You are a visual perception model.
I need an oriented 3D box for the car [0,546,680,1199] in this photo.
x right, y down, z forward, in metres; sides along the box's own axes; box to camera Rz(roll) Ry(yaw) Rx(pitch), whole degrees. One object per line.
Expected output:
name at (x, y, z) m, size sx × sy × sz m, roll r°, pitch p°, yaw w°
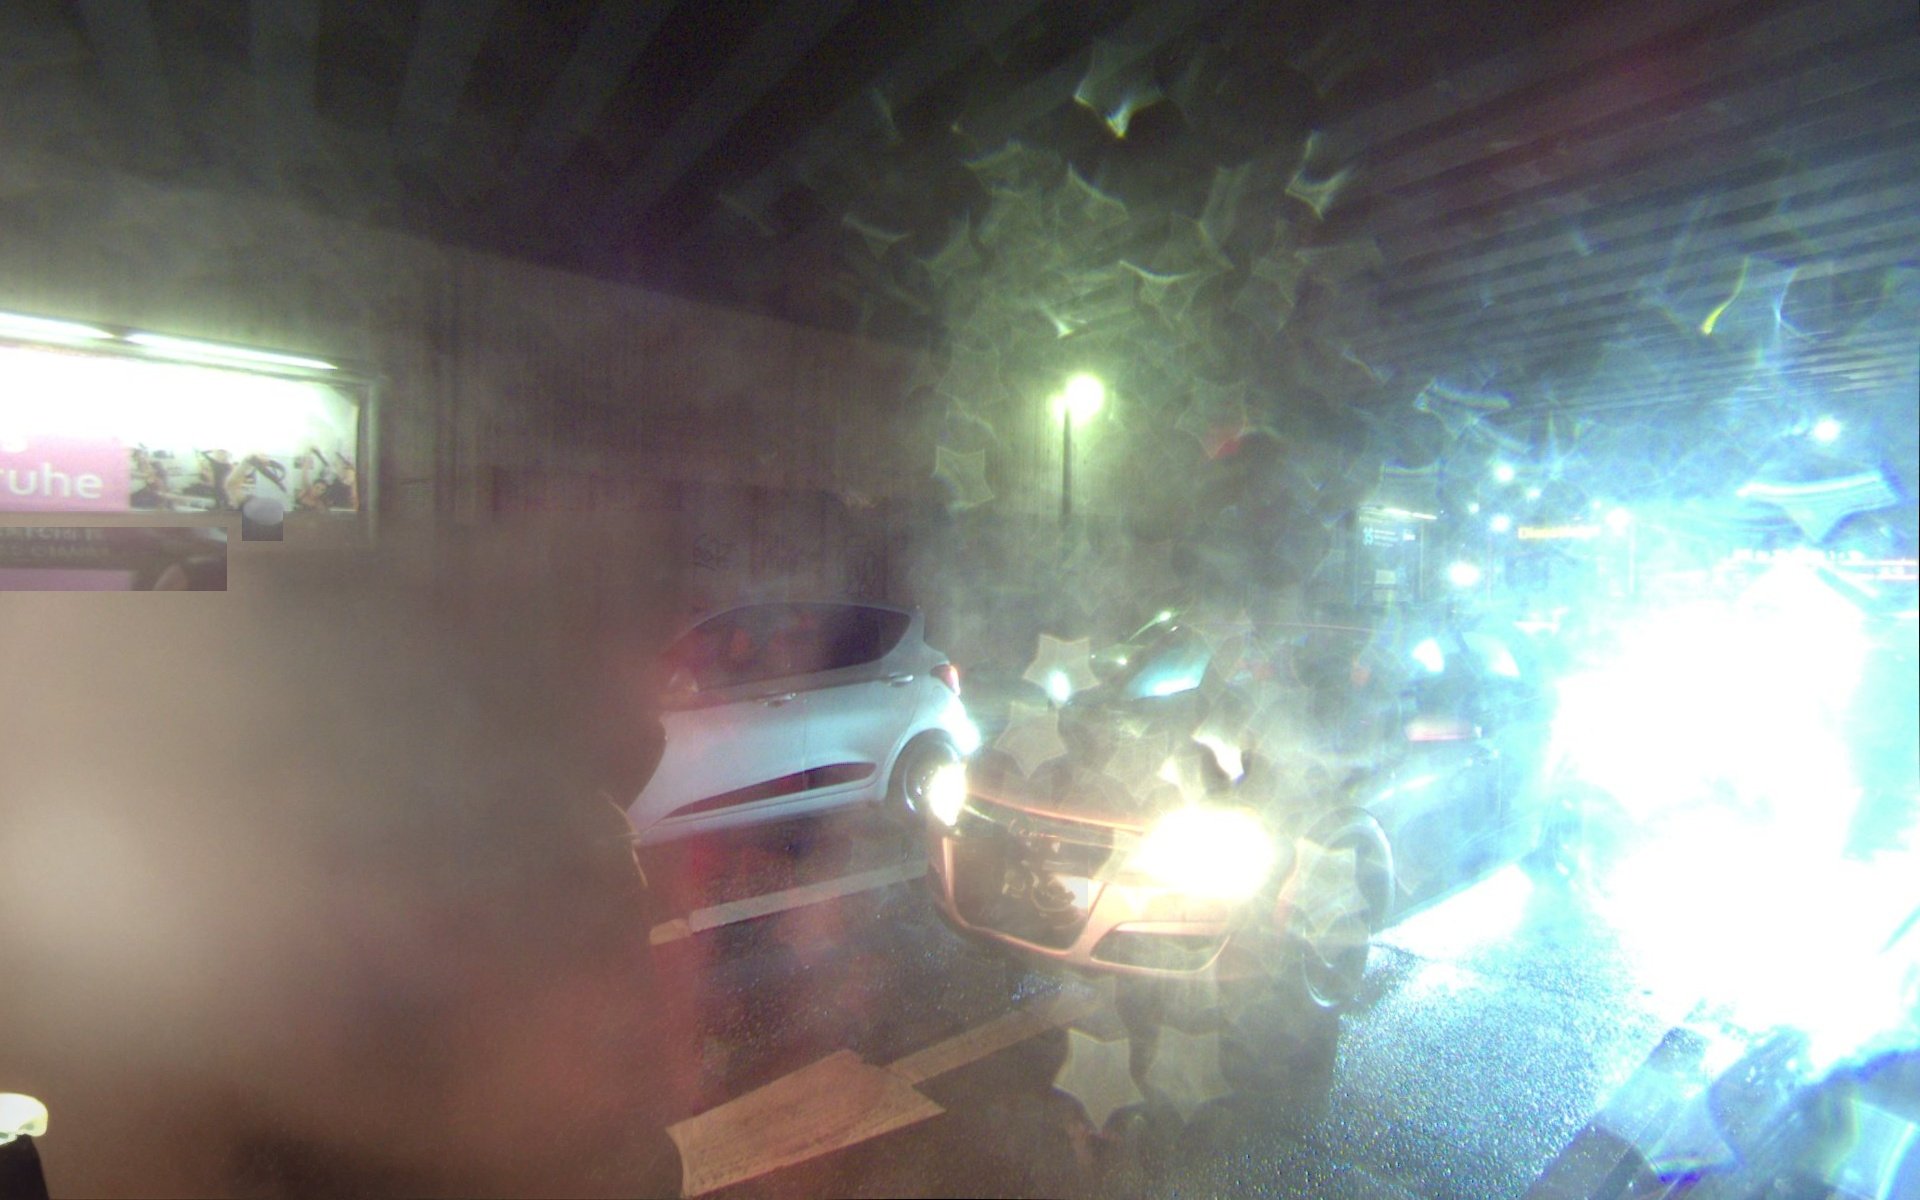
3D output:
car at (-2.670, 0.655, 1.003) m, size 4.308 × 1.464 × 1.723 m, roll -1°, pitch 3°, yaw -42°

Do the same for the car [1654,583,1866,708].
car at (11.414, 0.525, 14.352) m, size 3.906 × 1.481 × 1.696 m, roll -1°, pitch 3°, yaw -42°

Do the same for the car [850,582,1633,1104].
car at (1.636, 0.654, 4.877) m, size 4.091 × 1.464 × 1.723 m, roll -1°, pitch 1°, yaw -42°

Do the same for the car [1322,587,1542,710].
car at (7.163, 0.603, 15.162) m, size 1.721 × 1.505 × 4.096 m, roll 3°, pitch 3°, yaw 44°

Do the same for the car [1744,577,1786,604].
car at (48.970, -0.590, 61.535) m, size 1.720 × 1.505 × 4.098 m, roll 3°, pitch 3°, yaw 42°

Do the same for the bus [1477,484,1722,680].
bus at (13.951, -0.400, 21.579) m, size 2.733 × 3.318 × 9.551 m, roll 1°, pitch 1°, yaw 43°

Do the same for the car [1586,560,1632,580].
car at (46.350, -2.140, 72.358) m, size 1.685 × 1.407 × 3.979 m, roll 0°, pitch 1°, yaw 17°

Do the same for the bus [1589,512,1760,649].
bus at (20.410, -0.549, 28.609) m, size 2.733 × 3.278 × 9.551 m, roll 1°, pitch 1°, yaw 43°

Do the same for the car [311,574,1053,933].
car at (-1.461, 0.607, 6.255) m, size 4.091 × 1.464 × 1.723 m, roll -1°, pitch 3°, yaw -42°

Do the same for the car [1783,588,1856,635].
car at (31.676, 0.376, 37.381) m, size 1.716 × 1.505 × 4.108 m, roll 3°, pitch 3°, yaw 36°

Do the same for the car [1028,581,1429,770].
car at (2.959, 0.580, 10.458) m, size 4.705 × 1.505 × 1.723 m, roll -1°, pitch 2°, yaw -42°

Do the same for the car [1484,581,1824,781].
car at (6.739, 0.622, 9.656) m, size 4.091 × 1.506 × 1.722 m, roll -1°, pitch -2°, yaw -42°

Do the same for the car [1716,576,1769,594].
car at (65.917, -1.287, 85.351) m, size 1.803 × 1.482 × 4.409 m, roll 0°, pitch 1°, yaw 13°
